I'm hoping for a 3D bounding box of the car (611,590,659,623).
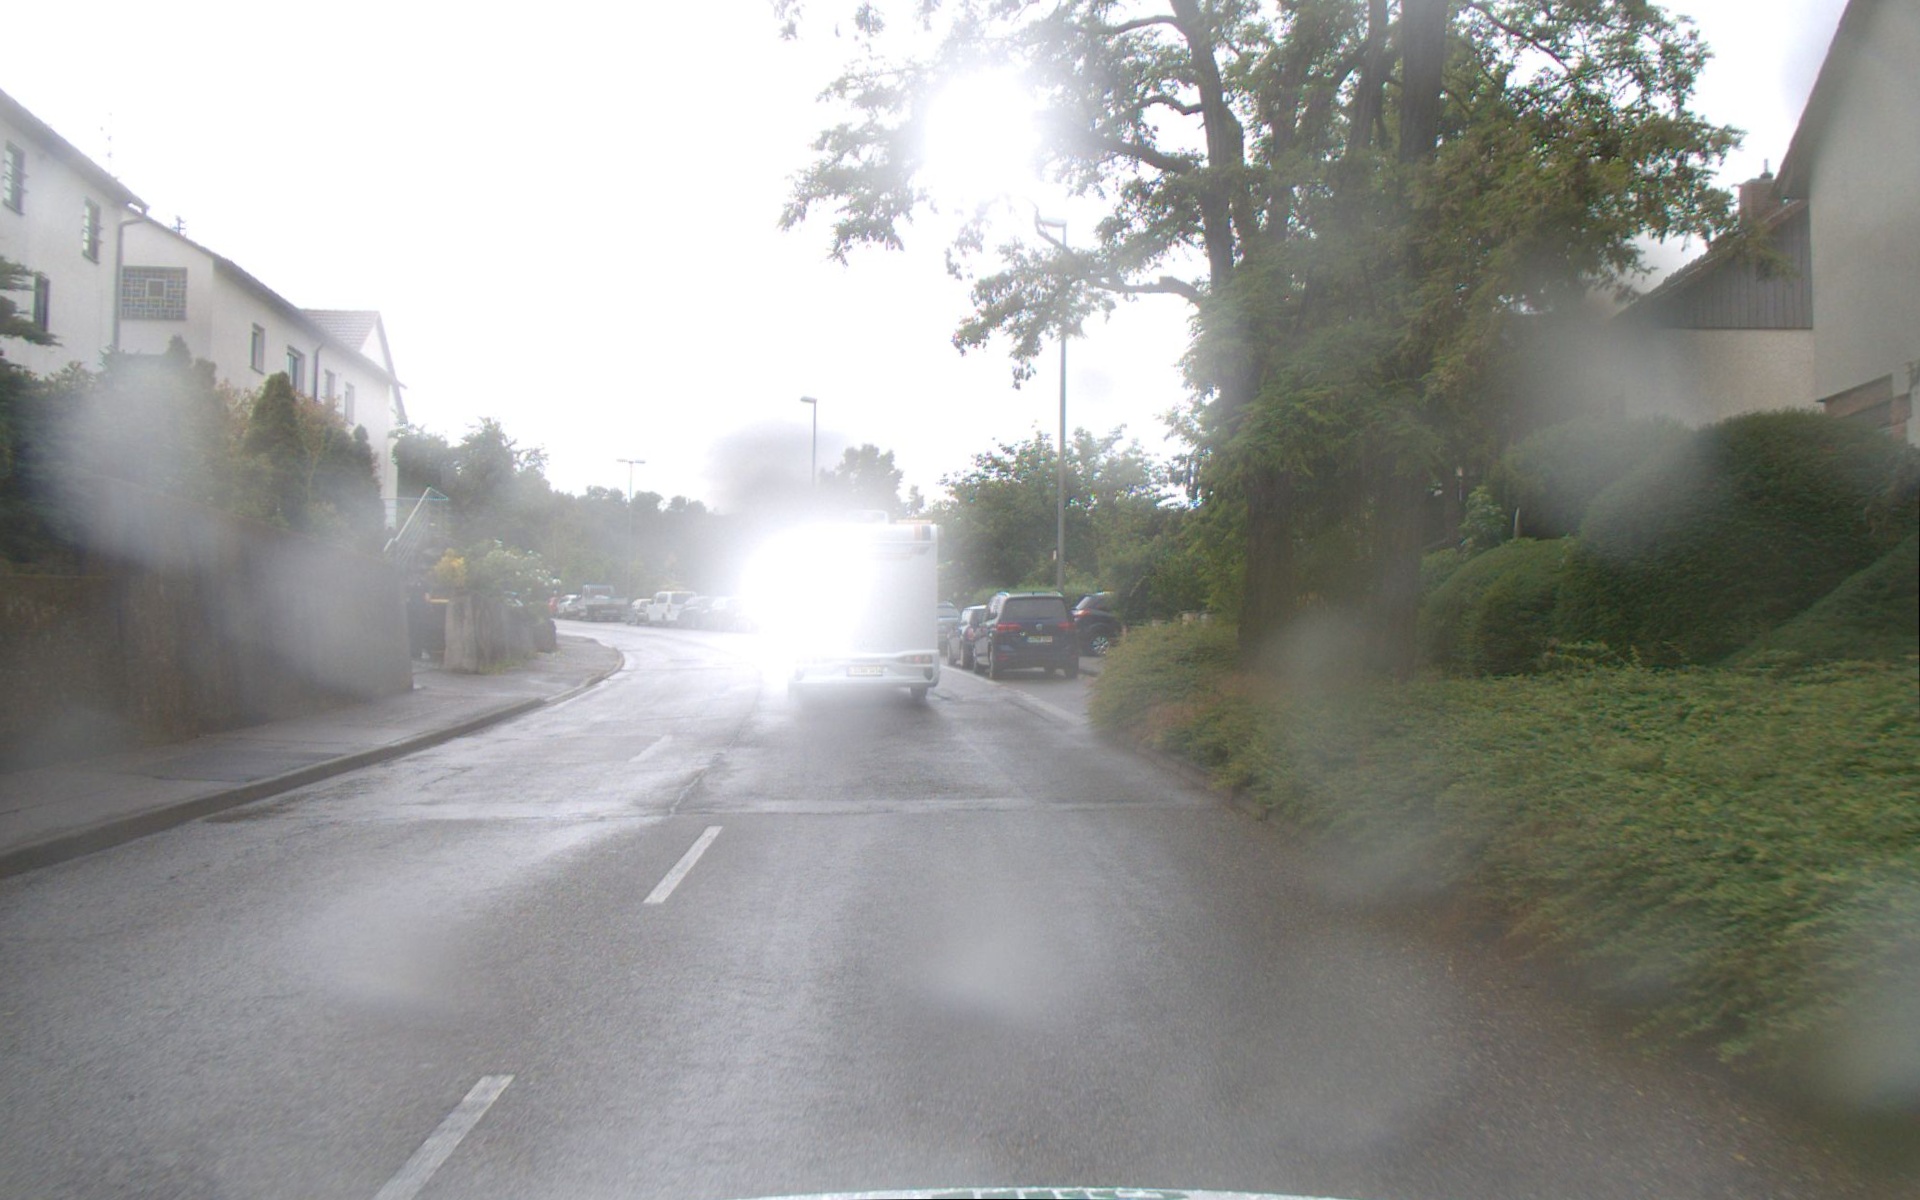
[{"bbox_3d":[-18.820,0.403,95.721,1.626,1.751,3.965,5,-3,-27],"label":"car"}]

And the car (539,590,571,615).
[{"bbox_3d":[-29.452,0.180,120.206,1.497,1.706,3.550,1,0,-27],"label":"car"}]

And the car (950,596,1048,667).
[{"bbox_3d":[0.860,0.710,39.184,1.819,1.544,3.995,1,0,-6],"label":"car"}]

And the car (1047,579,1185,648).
[{"bbox_3d":[4.460,0.412,47.601,3.554,1.693,1.997,4,-3,-5],"label":"car"}]

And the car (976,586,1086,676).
[{"bbox_3d":[1.374,0.598,33.508,1.953,1.668,3.999,1,0,-1],"label":"car"}]

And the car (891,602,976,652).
[{"bbox_3d":[-0.815,0.759,48.324,1.515,1.350,3.983,1,0,-15],"label":"car"}]

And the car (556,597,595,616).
[{"bbox_3d":[-26.422,0.465,113.596,1.626,1.120,3.965,5,-3,-27],"label":"car"}]

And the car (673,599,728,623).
[{"bbox_3d":[-13.481,0.582,85.759,1.626,1.120,3.965,5,-3,-27],"label":"car"}]

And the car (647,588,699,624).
[{"bbox_3d":[-15.732,0.348,90.434,1.626,1.751,3.965,5,-3,-27],"label":"car"}]

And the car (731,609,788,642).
[{"bbox_3d":[-9.185,1.177,75.649,1.519,1.350,3.836,5,-3,-23],"label":"car"}]

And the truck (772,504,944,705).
[{"bbox_3d":[-1.797,0.067,26.879,2.467,2.867,6.192,0,0,-6],"label":"truck"}]

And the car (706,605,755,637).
[{"bbox_3d":[-11.135,1.037,80.134,1.517,1.350,3.977,5,-3,-19],"label":"car"}]

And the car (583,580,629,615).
[{"bbox_3d":[-22.869,-0.120,106.745,1.719,2.080,4.474,5,-3,-27],"label":"car"}]
